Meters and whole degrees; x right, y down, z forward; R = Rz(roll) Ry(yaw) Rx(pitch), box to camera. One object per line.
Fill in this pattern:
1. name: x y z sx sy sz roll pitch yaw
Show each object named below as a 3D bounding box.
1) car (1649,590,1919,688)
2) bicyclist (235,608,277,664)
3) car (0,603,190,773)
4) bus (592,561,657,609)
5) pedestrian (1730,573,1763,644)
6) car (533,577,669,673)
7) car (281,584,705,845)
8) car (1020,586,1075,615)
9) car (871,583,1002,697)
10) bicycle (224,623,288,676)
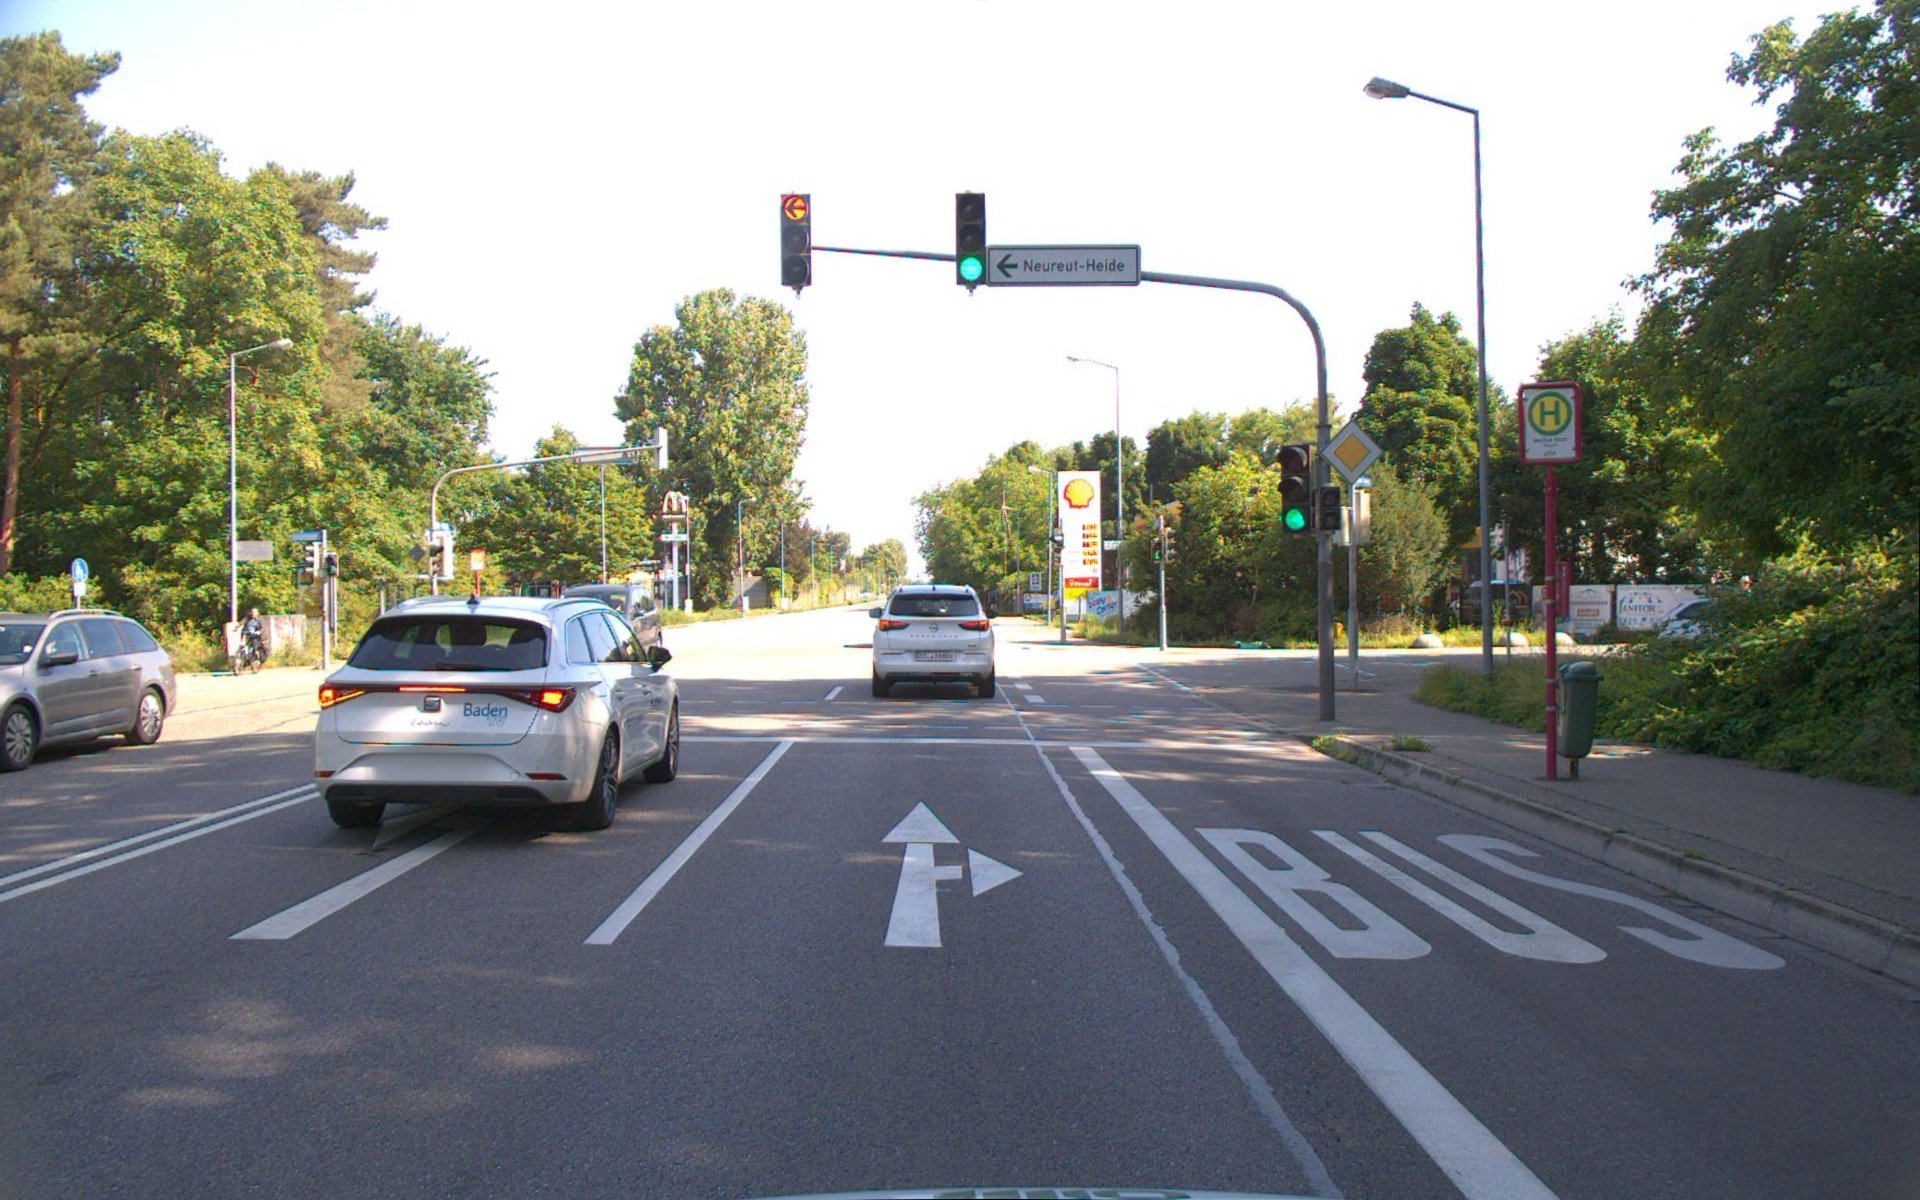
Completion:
1. car: 14.040 0.599 28.124 1.600 1.489 4.586 -1 0 -21
2. bicyclist: -17.203 0.878 40.433 0.707 1.334 0.882 -1 0 -6
3. car: -9.415 0.816 16.290 1.668 1.458 4.459 -2 1 -2
4. bus: -20.537 -0.867 101.633 2.528 2.726 8.991 1 0 -3
5. pedestrian: 18.527 0.201 38.958 0.595 1.658 0.415 -1 0 14
6. car: -7.032 0.471 32.800 1.754 1.726 4.390 -2 0 -1
7. car: -2.977 0.644 11.566 1.748 1.449 4.422 1 0 -1
8. car: 4.881 0.053 92.071 2.684 1.557 1.567 -1 -2 43
9. car: -0.360 0.575 25.421 1.809 1.568 4.223 1 0 -1
10. bicycle: -17.198 1.193 40.462 0.718 1.183 2.370 -1 0 -5
